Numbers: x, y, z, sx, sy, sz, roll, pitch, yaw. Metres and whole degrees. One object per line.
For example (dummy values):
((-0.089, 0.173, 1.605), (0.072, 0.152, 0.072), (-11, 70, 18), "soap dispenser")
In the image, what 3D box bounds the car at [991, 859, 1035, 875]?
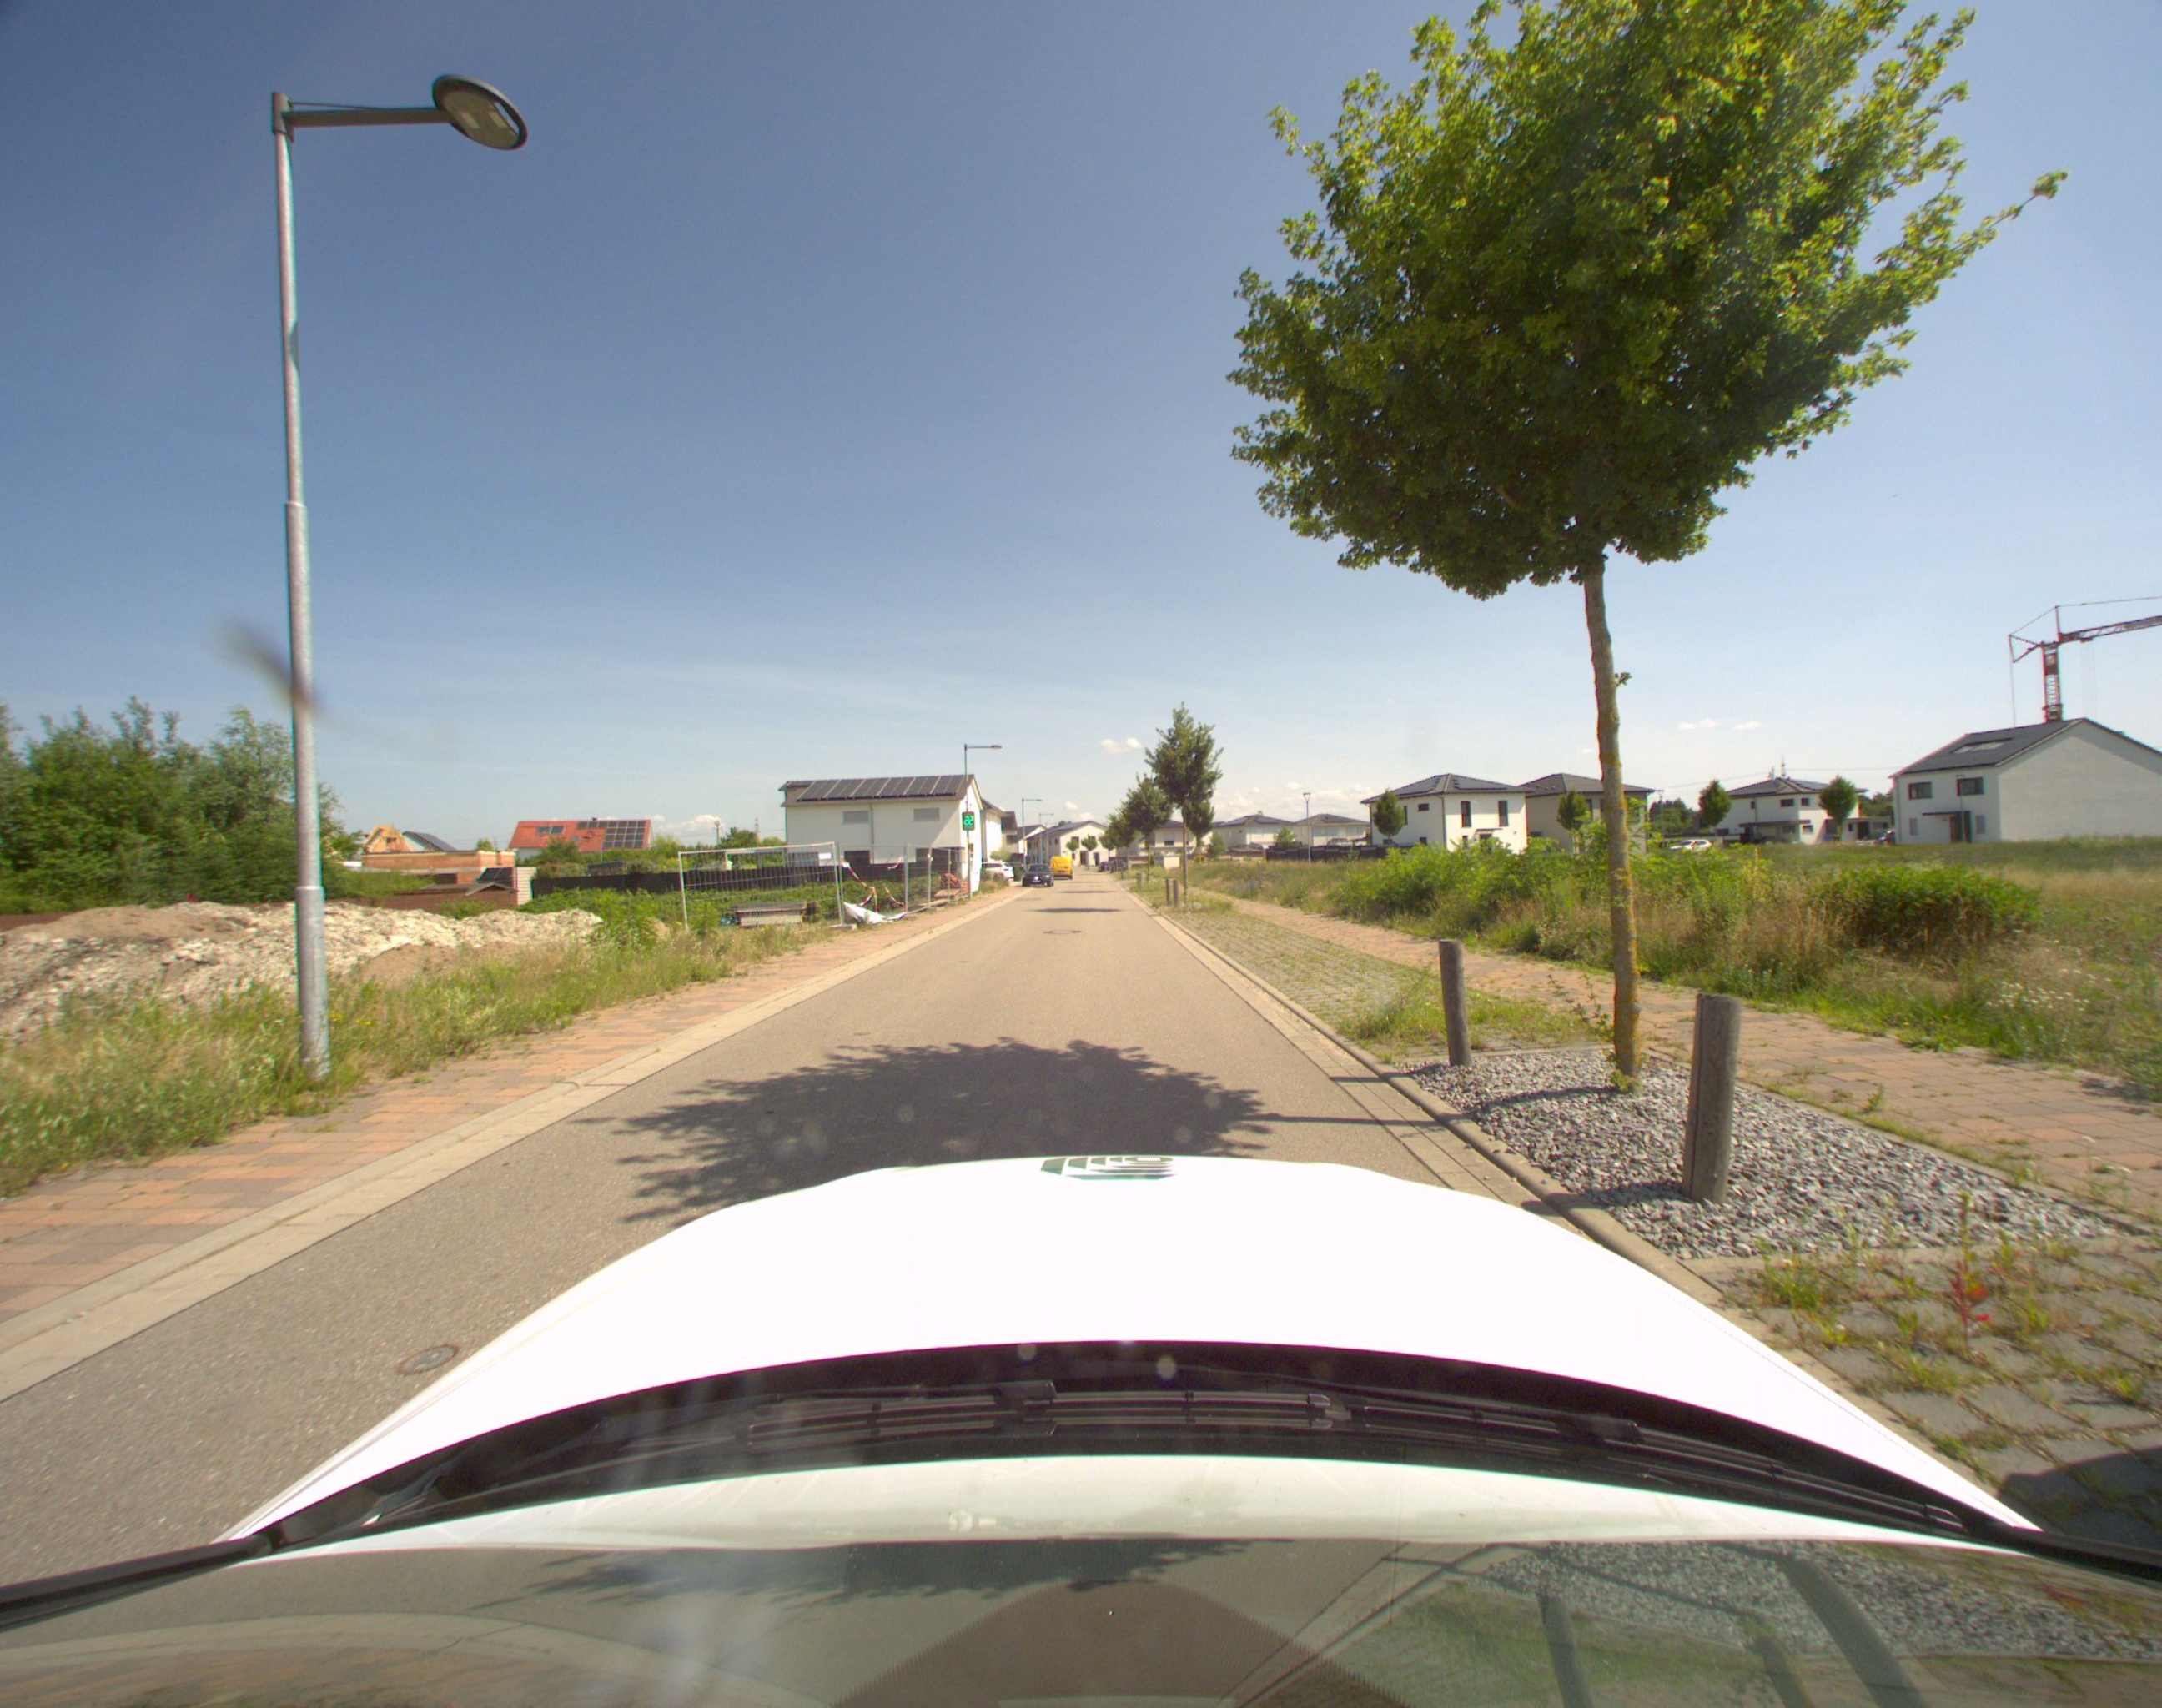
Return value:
((-6.890, 1.319, 82.153), (4.168, 1.505, 1.806), (2, -1, -16), "car")

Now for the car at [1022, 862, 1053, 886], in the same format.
((-2.699, 1.243, 51.257), (1.739, 1.405, 4.159), (0, 0, 0), "car")

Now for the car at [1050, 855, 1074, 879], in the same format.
((-1.727, 1.124, 71.413), (1.937, 1.981, 4.211), (-2, -1, -3), "car")

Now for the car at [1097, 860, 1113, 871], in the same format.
((3.242, 1.581, 110.087), (1.626, 1.322, 3.825), (-2, -3, -6), "car")

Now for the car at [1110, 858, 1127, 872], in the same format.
((4.187, 1.275, 91.475), (1.634, 1.403, 3.809), (-2, -2, 0), "car")

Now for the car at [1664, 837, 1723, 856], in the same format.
((50.447, -0.575, 67.090), (3.992, 1.398, 1.742), (-2, -1, -14), "car")

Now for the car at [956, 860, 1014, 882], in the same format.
((-7.244, 1.308, 61.776), (4.048, 1.581, 1.787), (-1, 0, 6), "car")
